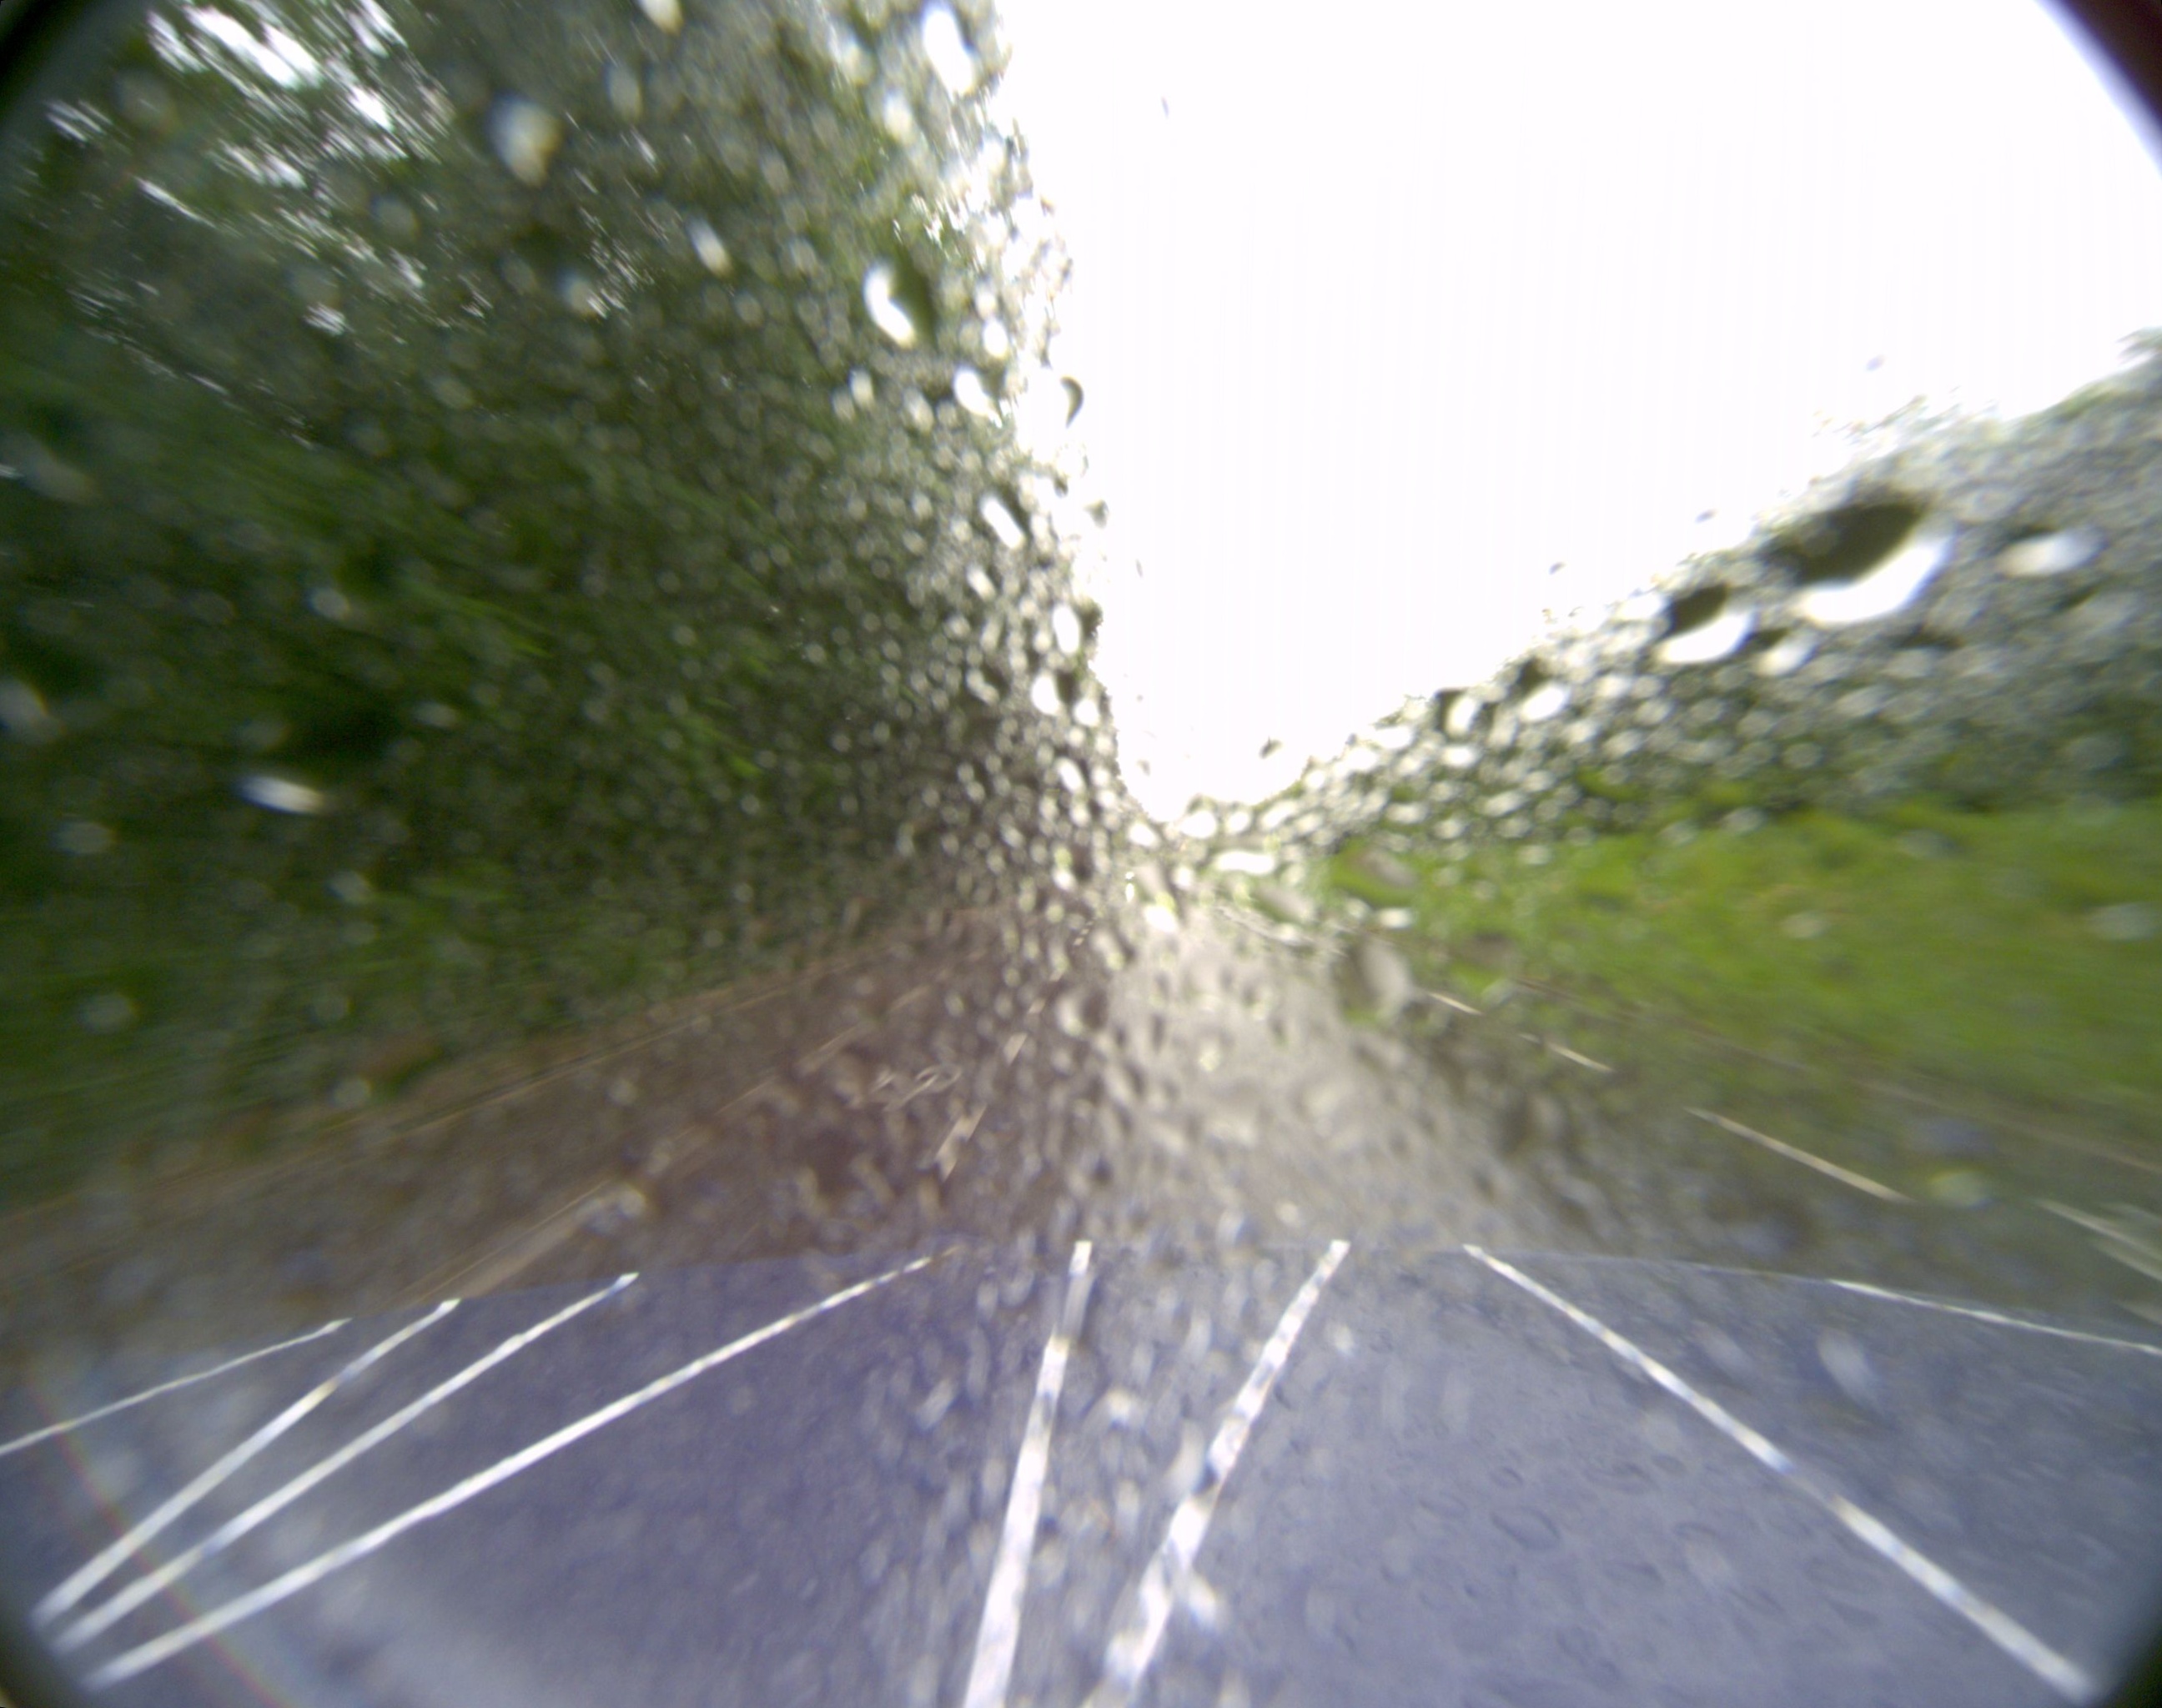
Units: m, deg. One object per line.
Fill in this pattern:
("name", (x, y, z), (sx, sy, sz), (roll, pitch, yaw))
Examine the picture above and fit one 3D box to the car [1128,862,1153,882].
("car", (4.956, 1.484, 62.944), (1.798, 1.543, 4.002), (0, 0, 7))
